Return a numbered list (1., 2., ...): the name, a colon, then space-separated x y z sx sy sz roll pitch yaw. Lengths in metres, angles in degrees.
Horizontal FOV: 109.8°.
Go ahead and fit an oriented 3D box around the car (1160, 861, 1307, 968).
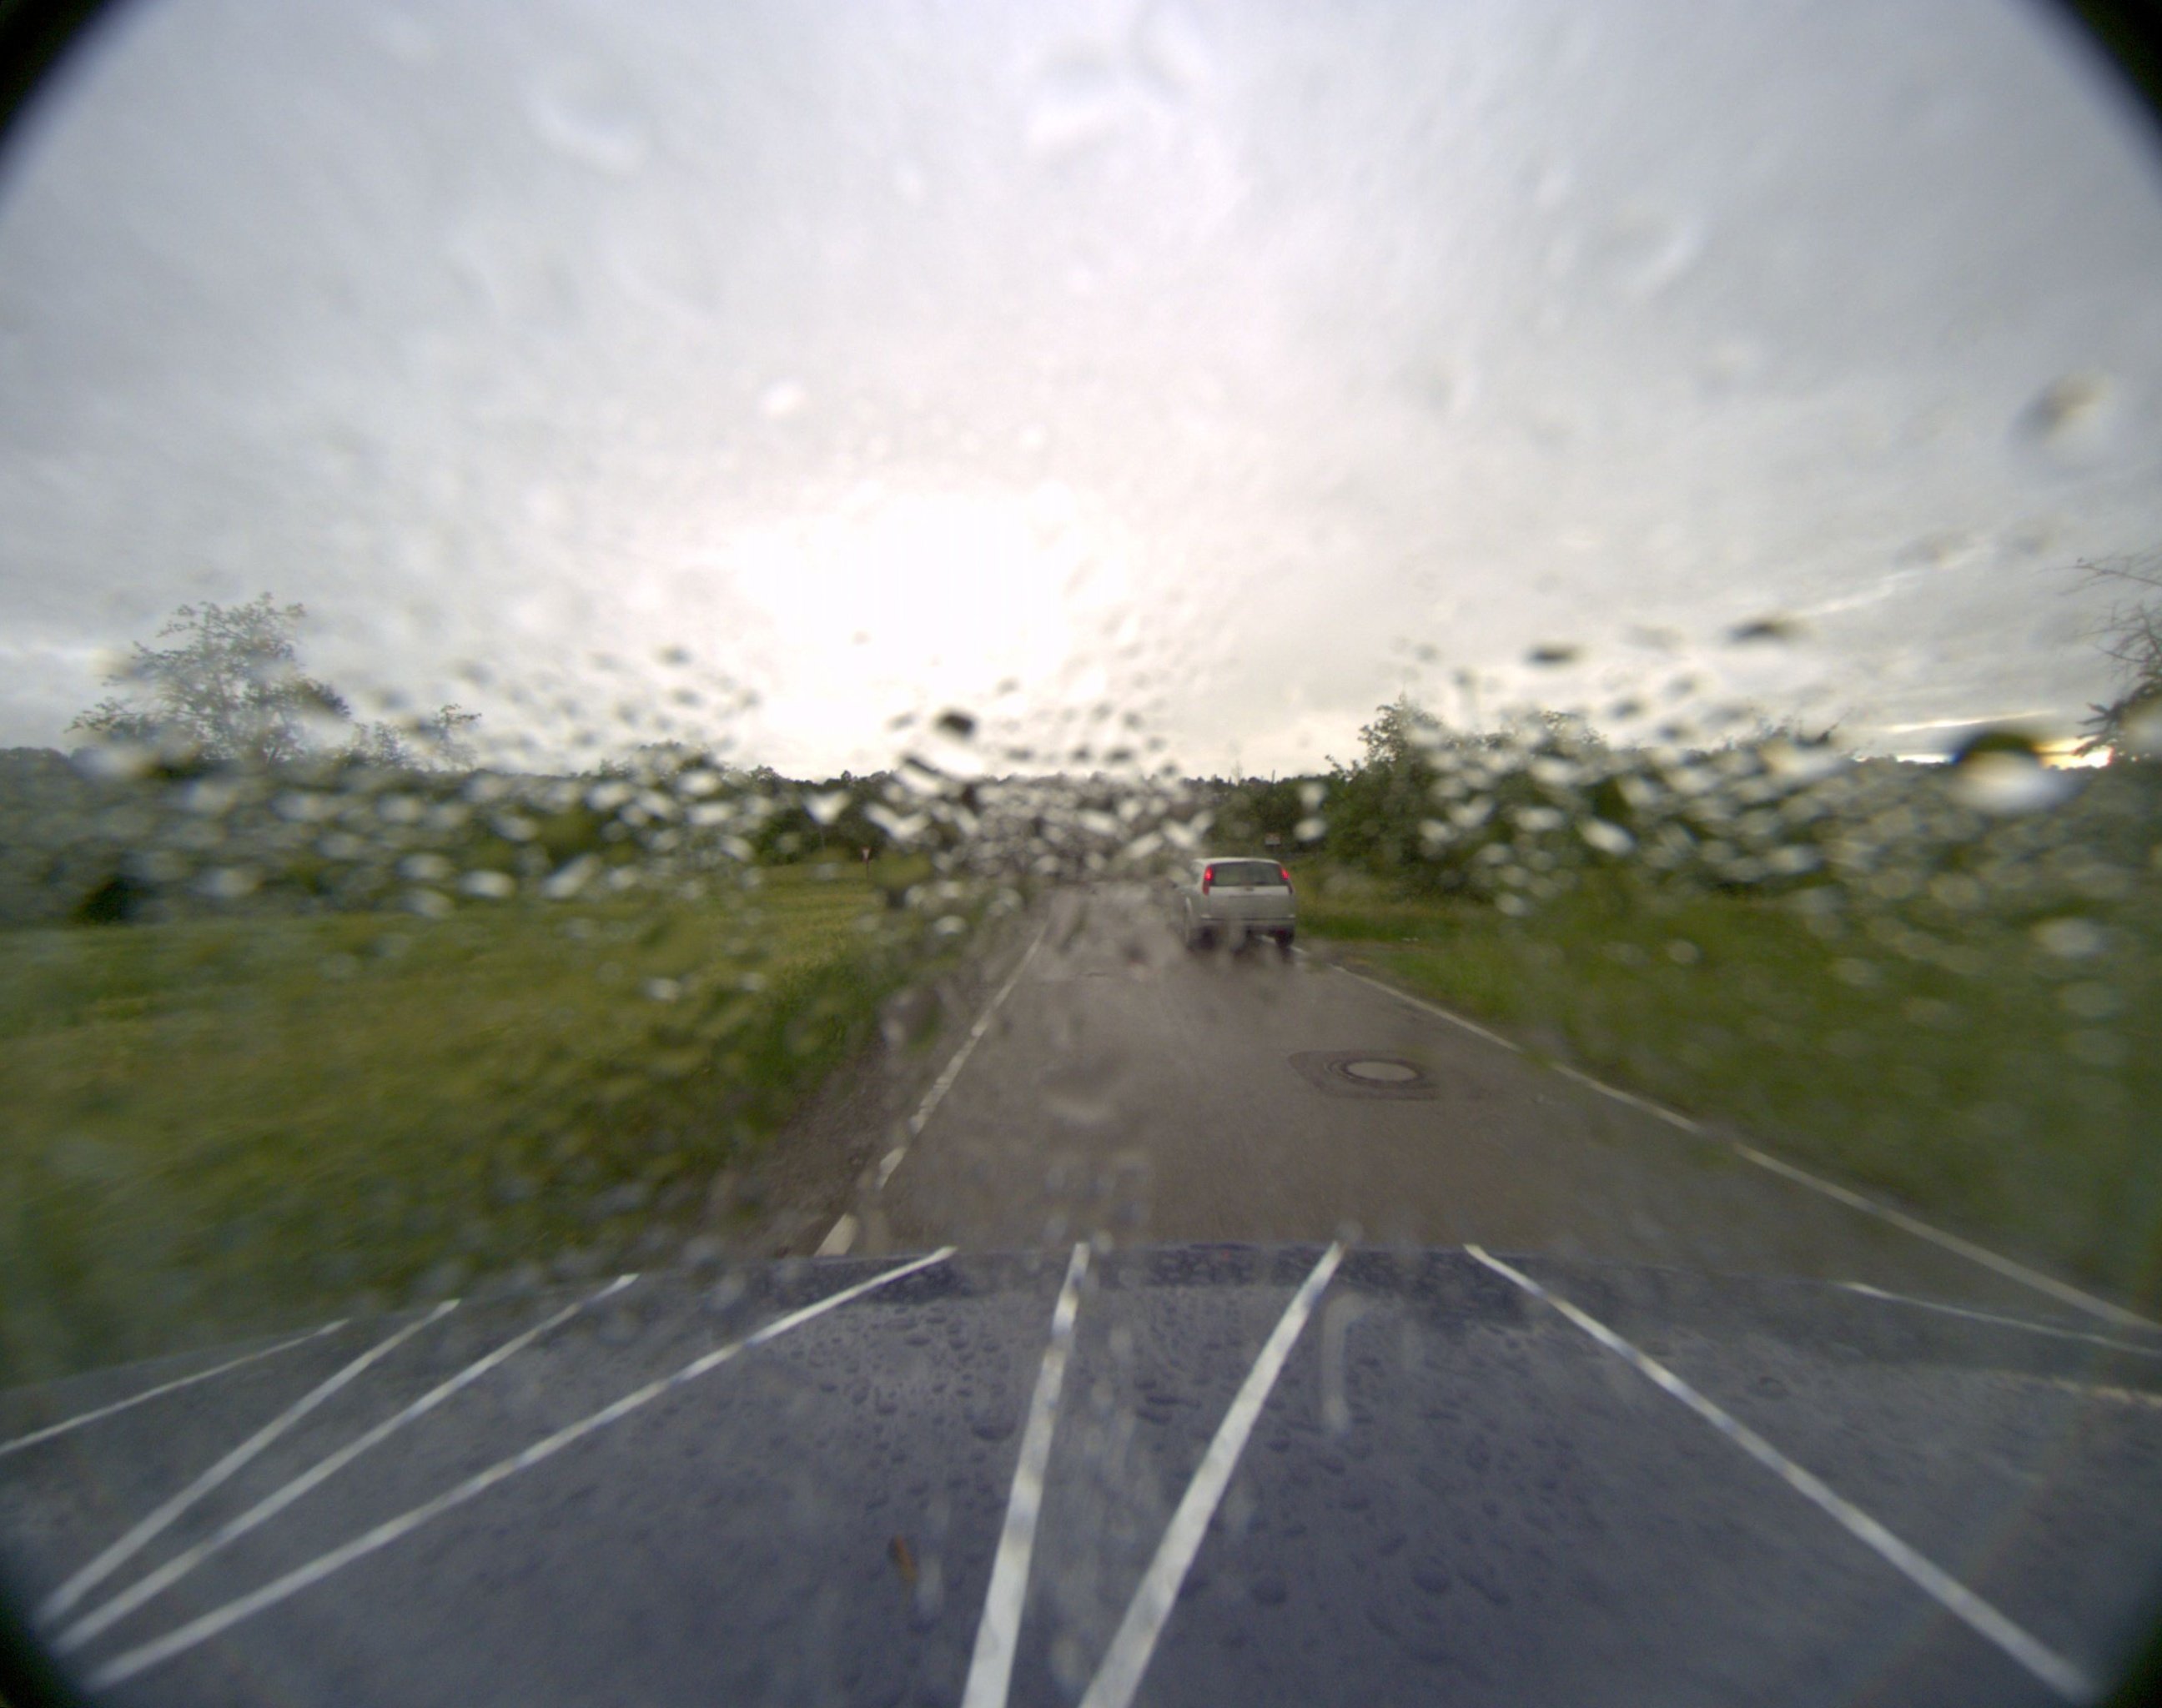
1. car: 2.549 0.943 13.651 1.744 1.463 4.121 -2 1 -1
